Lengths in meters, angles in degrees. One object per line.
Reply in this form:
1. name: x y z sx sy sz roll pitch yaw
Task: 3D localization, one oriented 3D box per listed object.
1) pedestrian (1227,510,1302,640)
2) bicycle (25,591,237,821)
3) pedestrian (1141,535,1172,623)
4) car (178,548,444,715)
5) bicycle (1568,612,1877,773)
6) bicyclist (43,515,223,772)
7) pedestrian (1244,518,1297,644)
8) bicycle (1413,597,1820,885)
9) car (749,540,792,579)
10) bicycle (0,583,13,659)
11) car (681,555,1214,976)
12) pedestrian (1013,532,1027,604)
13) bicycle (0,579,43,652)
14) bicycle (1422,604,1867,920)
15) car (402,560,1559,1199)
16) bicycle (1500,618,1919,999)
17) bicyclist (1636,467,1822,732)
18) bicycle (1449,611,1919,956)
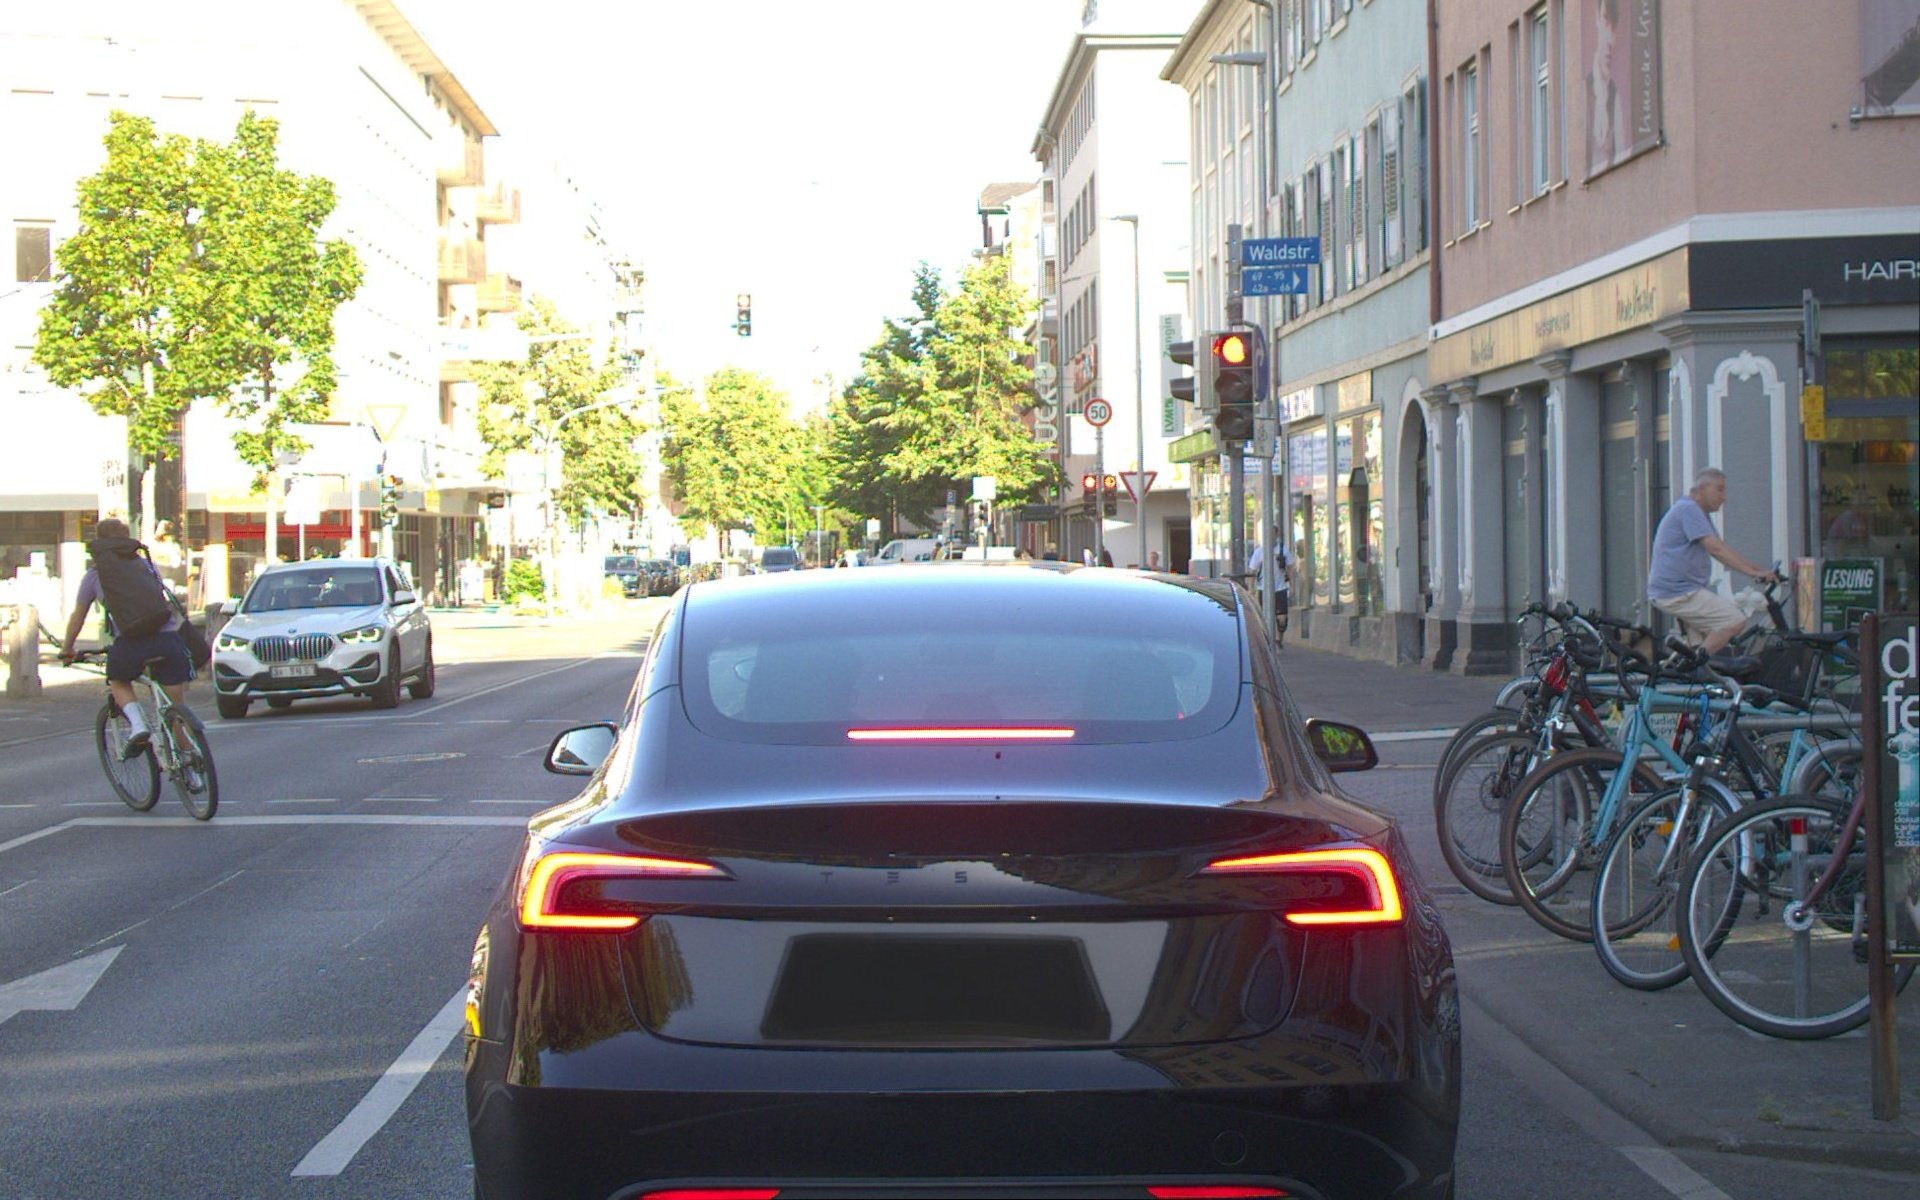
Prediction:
1. pedestrian: 4.321 -0.356 48.795 0.999 1.844 0.615 0 1 -1
2. bicycle: -4.712 0.578 19.653 0.796 1.228 1.774 0 1 -1
3. pedestrian: 3.760 -0.405 65.739 0.570 1.685 0.387 0 1 -1
4. car: -6.748 0.284 36.176 1.993 1.535 4.000 -4 1 -1
5. bicycle: 4.814 0.576 21.790 1.864 0.942 0.628 1 1 11
6. bicyclist: -4.713 0.236 19.646 0.796 1.430 1.008 0 1 -1
7. pedestrian: 4.405 -0.267 48.778 0.704 1.777 0.533 0 1 -1
8. bicycle: 2.806 0.597 14.764 1.628 1.156 0.433 -2 1 1
9. car: -8.339 -1.783 151.232 1.829 1.718 4.000 0 1 -2
10. bicycle: -14.920 0.304 49.982 2.082 1.100 0.806 0 1 -1
11. car: -0.038 0.549 13.828 1.850 1.450 3.786 0 1 0
12. pedestrian: 1.669 -0.889 95.324 0.384 2.007 0.297 0 1 -1
13. bicycle: -15.059 0.233 52.175 2.082 1.100 0.806 0 1 -1
14. bicycle: 2.683 0.627 13.533 1.627 1.156 0.433 -2 1 -1
15. car: 0.038 0.648 7.401 1.850 1.450 3.786 0 1 0
16. bicycle: 2.628 0.662 11.203 1.627 1.156 0.433 -2 1 -1
17. bicyclist: 4.859 -0.010 21.778 1.120 1.648 0.628 0 1 11
18. bicycle: 2.626 0.649 12.388 1.627 1.156 0.433 -2 1 -1
